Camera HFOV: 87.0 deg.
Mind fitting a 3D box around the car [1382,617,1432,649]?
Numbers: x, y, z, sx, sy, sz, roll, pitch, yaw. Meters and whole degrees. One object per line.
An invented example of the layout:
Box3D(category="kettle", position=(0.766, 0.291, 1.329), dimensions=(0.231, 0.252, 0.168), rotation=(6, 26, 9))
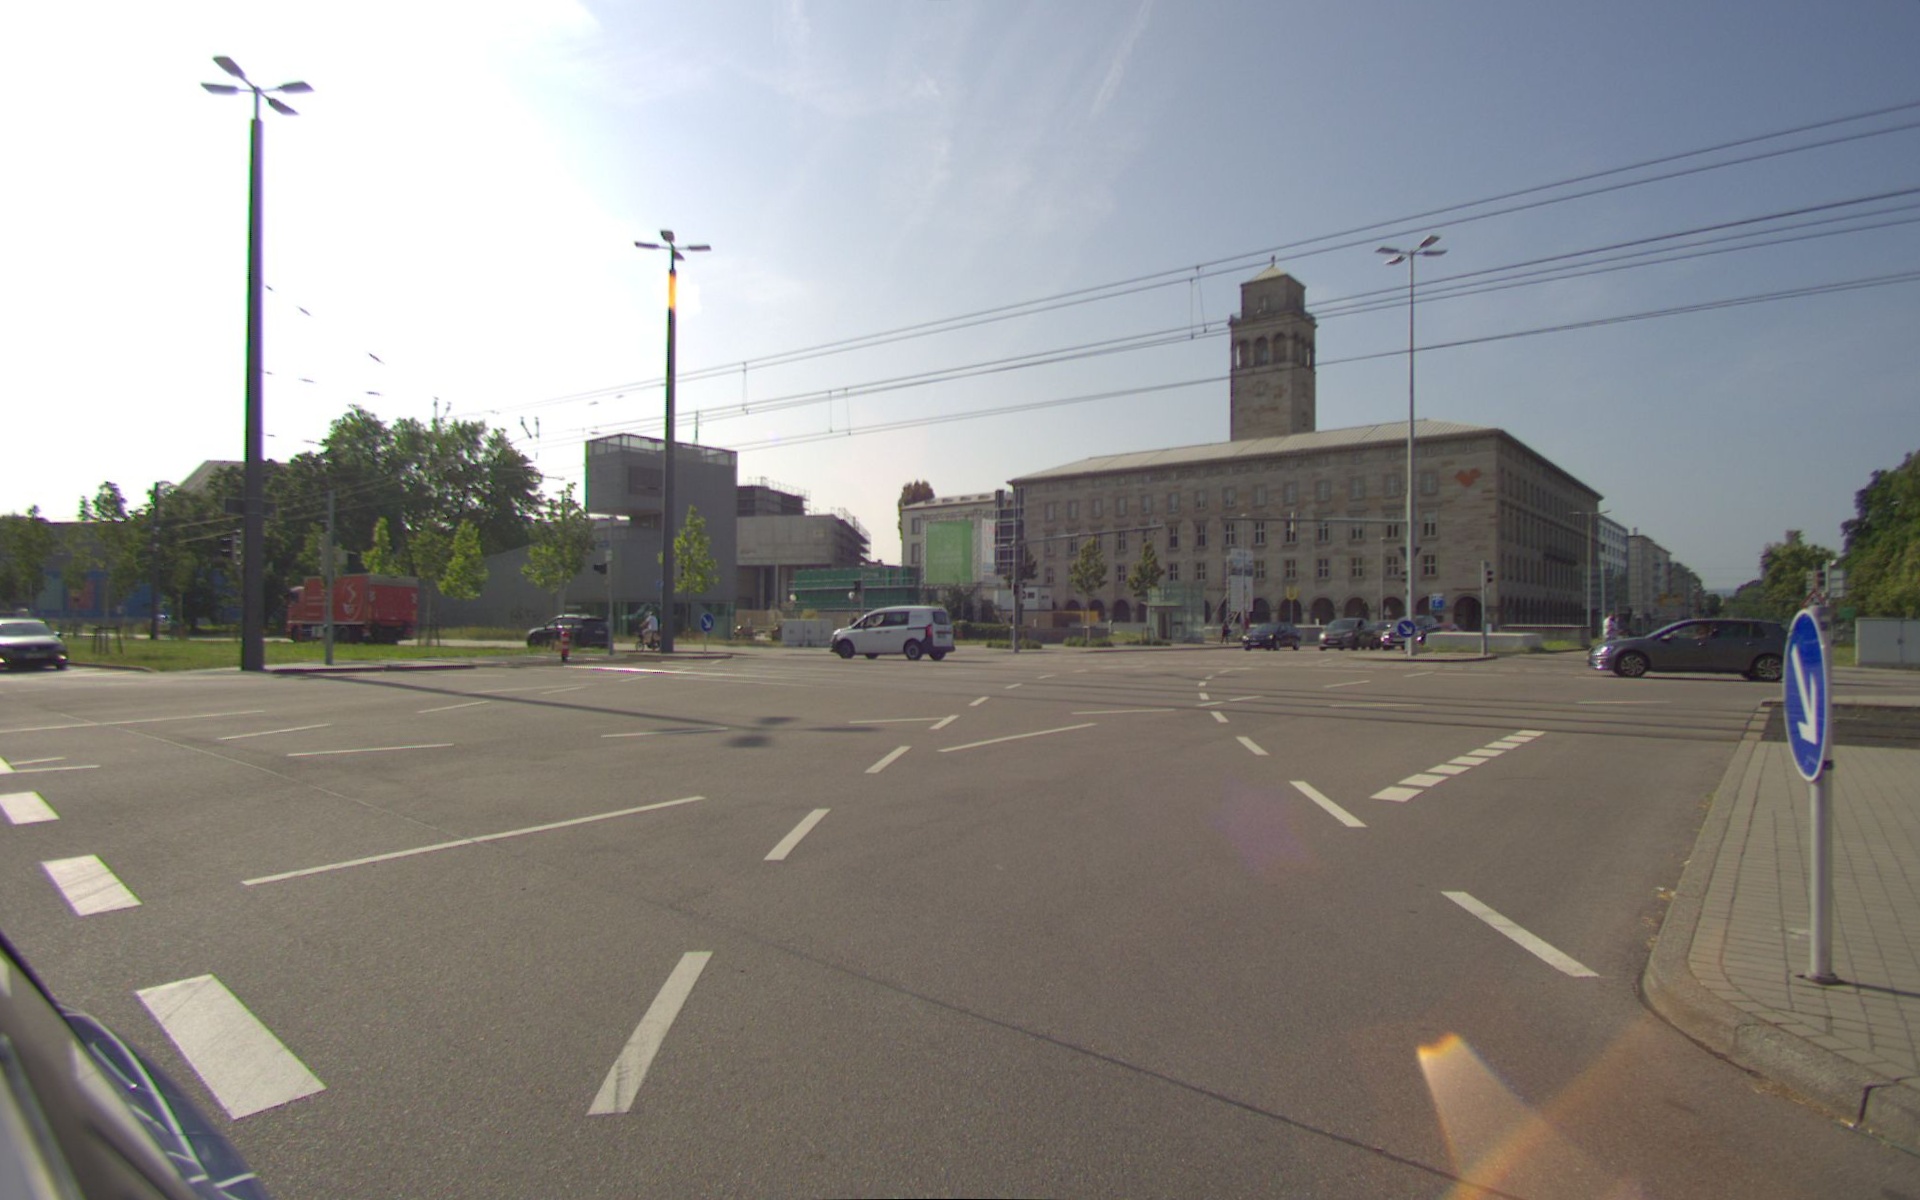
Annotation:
Box3D(category="car", position=(21.169, 1.545, 47.875), dimensions=(1.566, 1.431, 3.303), rotation=(-1, -1, 35))

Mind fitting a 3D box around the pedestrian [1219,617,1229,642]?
Box3D(category="pedestrian", position=(18.516, 2.072, 70.995), dimensions=(0.575, 1.744, 0.643), rotation=(-1, -1, 24))

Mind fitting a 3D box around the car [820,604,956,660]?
Box3D(category="car", position=(-2.492, 1.075, 34.587), dimensions=(4.497, 1.802, 1.606), rotation=(-1, -1, 28))

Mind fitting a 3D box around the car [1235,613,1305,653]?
Box3D(category="car", position=(16.149, 1.676, 52.692), dimensions=(2.000, 2.029, 3.944), rotation=(-1, -1, 42))

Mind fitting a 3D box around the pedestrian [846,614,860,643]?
Box3D(category="pedestrian", position=(-6.374, 1.707, 60.296), dimensions=(0.537, 1.710, 0.599), rotation=(-1, -2, 40))

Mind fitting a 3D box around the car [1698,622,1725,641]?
Box3D(category="car", position=(70.576, 2.941, 95.065), dimensions=(1.886, 1.732, 3.948), rotation=(-1, -1, 39))

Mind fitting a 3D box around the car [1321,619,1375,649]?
Box3D(category="car", position=(19.079, 1.649, 49.679), dimensions=(1.706, 1.391, 3.611), rotation=(-1, -1, 35))

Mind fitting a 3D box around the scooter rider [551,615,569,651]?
Box3D(category="scooter rider", position=(-19.026, 1.578, 48.138), dimensions=(0.548, 1.711, 0.533), rotation=(-1, -1, 31))

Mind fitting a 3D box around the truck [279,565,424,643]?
Box3D(category="truck", position=(-32.904, 0.269, 54.476), dimensions=(10.403, 3.838, 2.945), rotation=(-1, -1, 37))

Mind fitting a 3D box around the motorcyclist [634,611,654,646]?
Box3D(category="motorcyclist", position=(-14.149, 1.271, 45.343), dimensions=(0.857, 1.539, 0.388), rotation=(-1, -1, 29))

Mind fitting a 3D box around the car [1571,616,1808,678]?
Box3D(category="car", position=(17.218, 1.082, 24.185), dimensions=(4.406, 1.357, 1.584), rotation=(-1, -1, 30))

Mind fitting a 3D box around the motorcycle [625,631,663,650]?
Box3D(category="motorcycle", position=(-14.135, 1.823, 45.303), dimensions=(1.815, 0.839, 0.515), rotation=(-1, -1, 29))

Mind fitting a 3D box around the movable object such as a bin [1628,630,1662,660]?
Box3D(category="movable object such as a bin", position=(23.910, 1.563, 35.334), dimensions=(0.907, 1.022, 0.558), rotation=(-1, -1, 40))

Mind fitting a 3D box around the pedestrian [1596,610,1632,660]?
Box3D(category="pedestrian", position=(23.205, 1.238, 35.936), dimensions=(1.005, 1.747, 0.554), rotation=(-1, -1, 40))

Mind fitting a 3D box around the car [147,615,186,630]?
Box3D(category="car", position=(-97.971, 2.731, 124.932), dimensions=(4.802, 1.781, 2.000), rotation=(-1, -1, 29))

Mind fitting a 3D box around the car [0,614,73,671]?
Box3D(category="car", position=(-26.471, 1.168, 28.339), dimensions=(3.863, 1.443, 1.688), rotation=(-1, 1, 37))

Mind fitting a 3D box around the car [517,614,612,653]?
Box3D(category="car", position=(-16.756, 1.390, 42.880), dimensions=(3.983, 1.613, 1.629), rotation=(-1, -1, 29))
